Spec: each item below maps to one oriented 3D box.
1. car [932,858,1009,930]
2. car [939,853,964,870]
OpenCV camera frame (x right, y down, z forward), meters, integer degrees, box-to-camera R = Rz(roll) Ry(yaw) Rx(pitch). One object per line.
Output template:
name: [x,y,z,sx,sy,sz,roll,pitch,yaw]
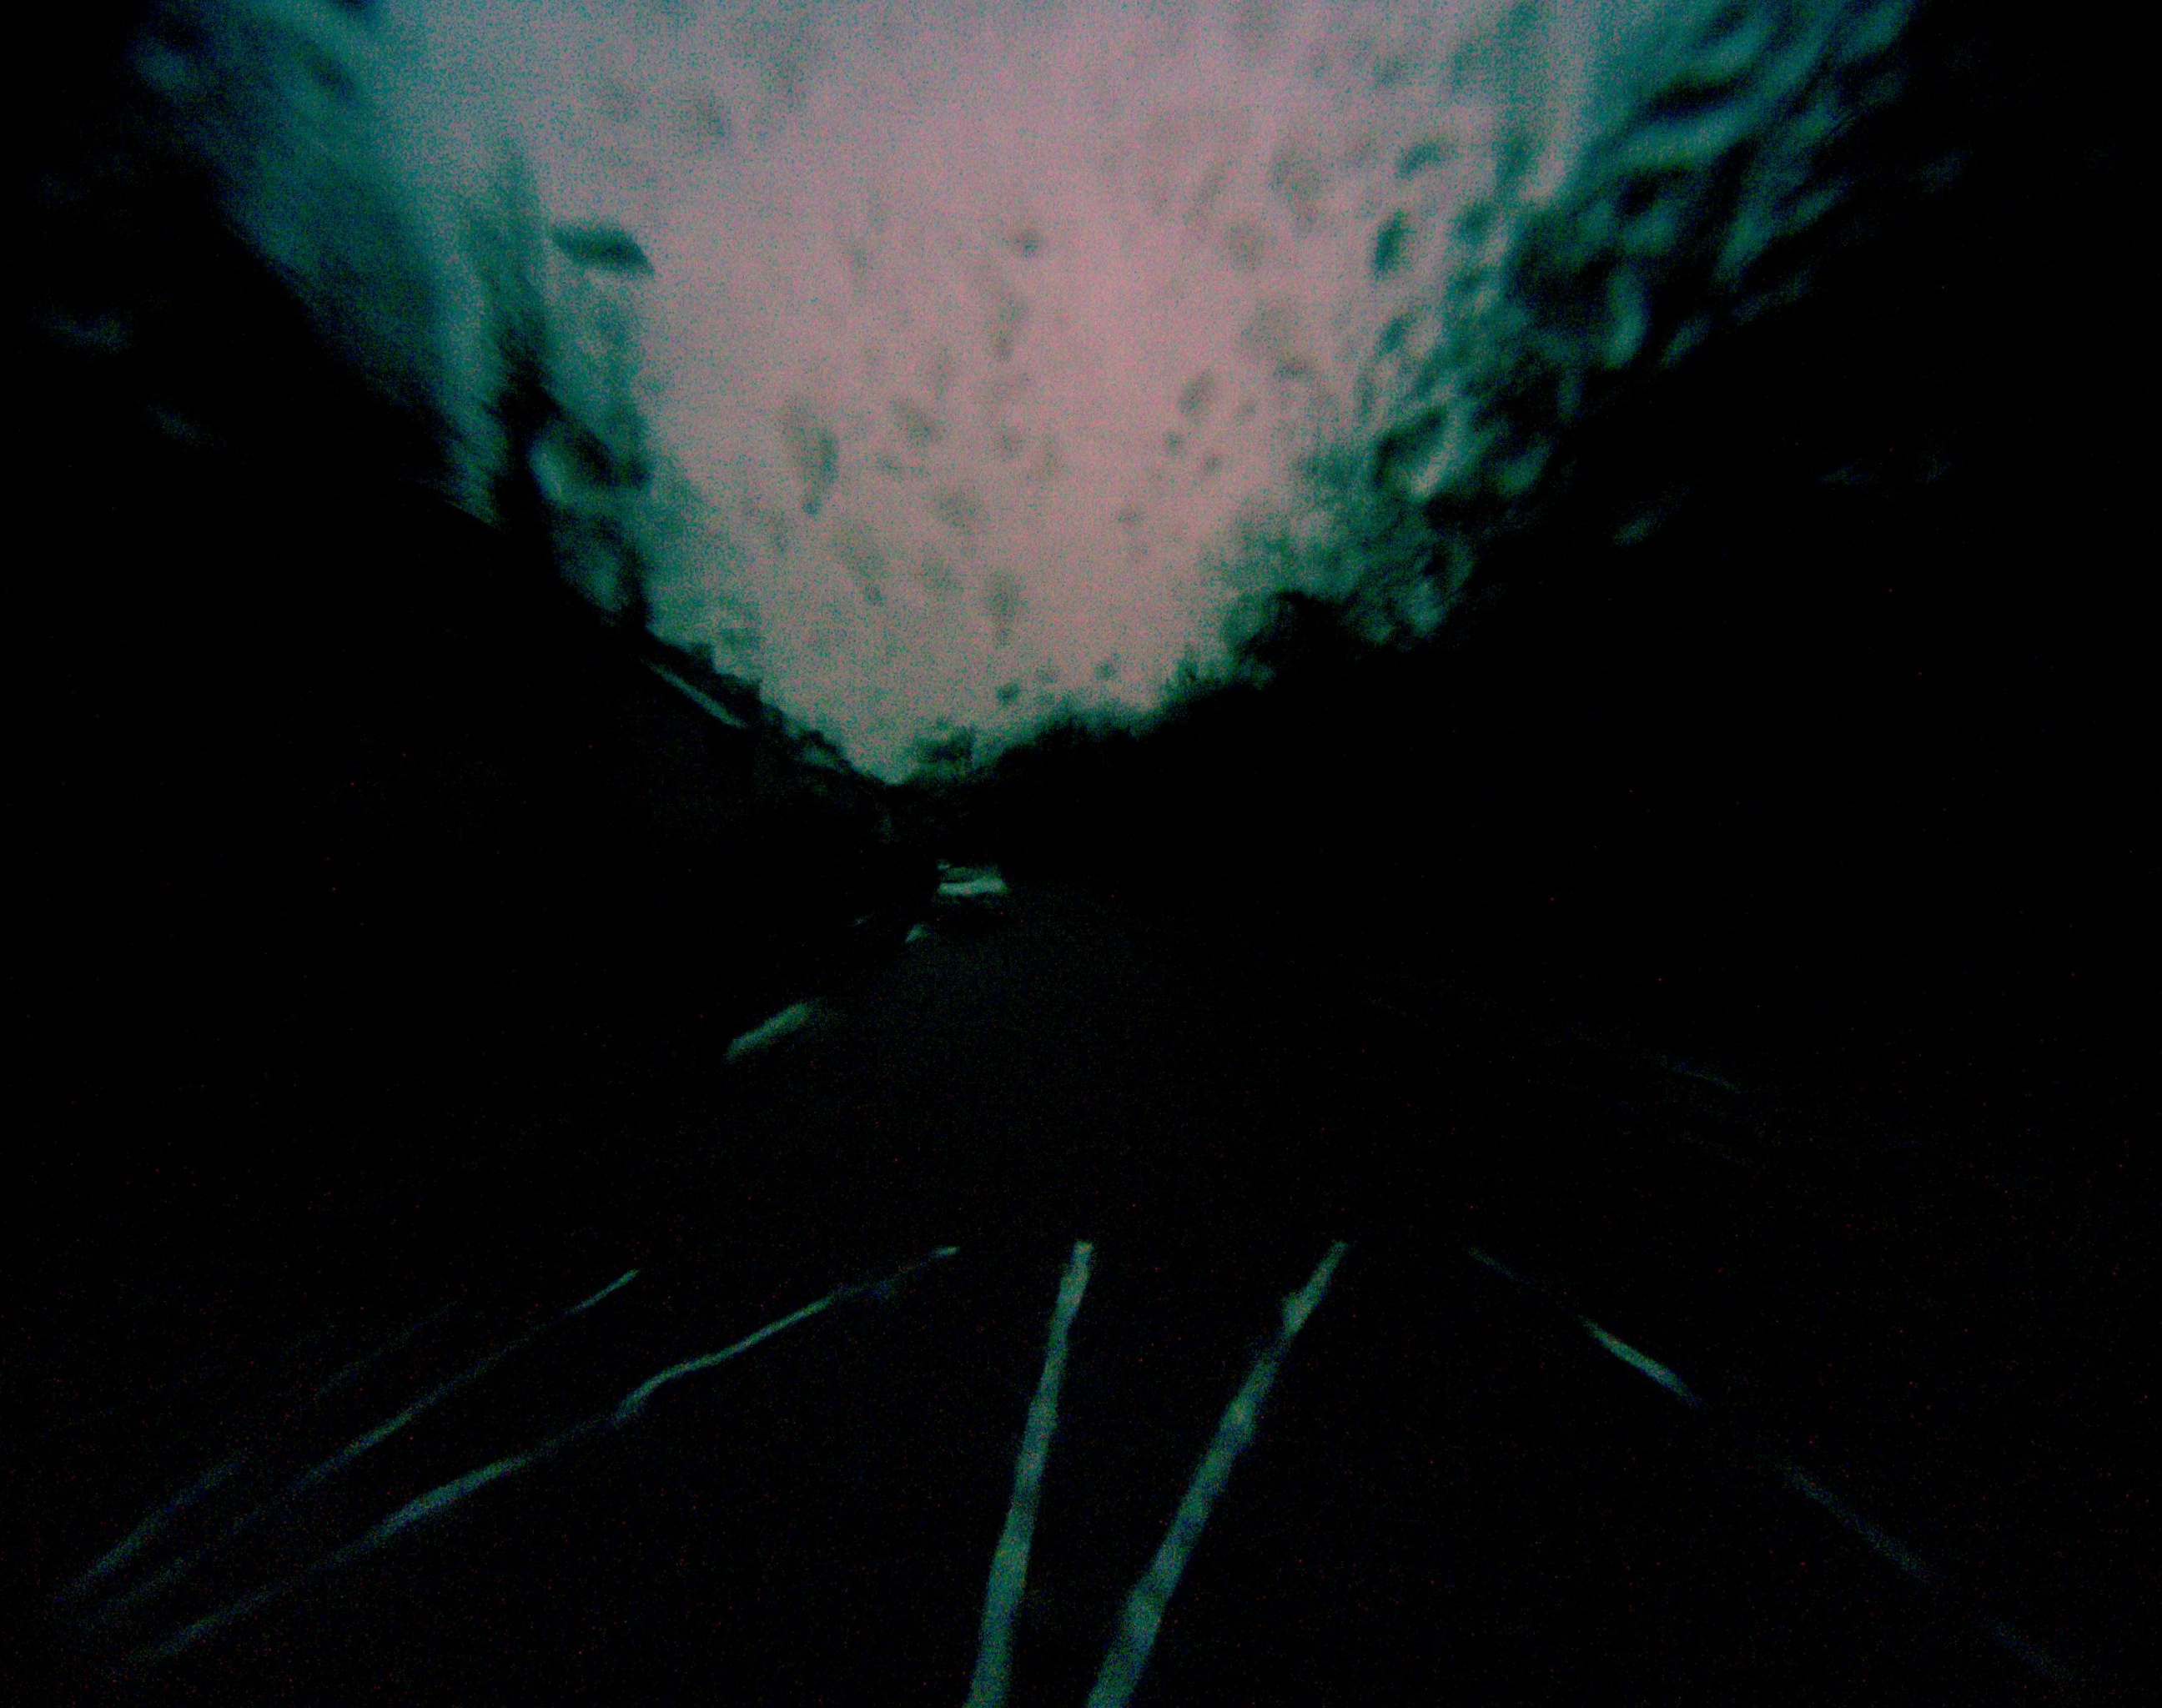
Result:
car: [-2.745,0.921,19.378,1.709,1.497,4.021,-2,1,-6]
car: [-12.089,0.661,70.748,1.745,1.421,4.450,-3,1,-16]
